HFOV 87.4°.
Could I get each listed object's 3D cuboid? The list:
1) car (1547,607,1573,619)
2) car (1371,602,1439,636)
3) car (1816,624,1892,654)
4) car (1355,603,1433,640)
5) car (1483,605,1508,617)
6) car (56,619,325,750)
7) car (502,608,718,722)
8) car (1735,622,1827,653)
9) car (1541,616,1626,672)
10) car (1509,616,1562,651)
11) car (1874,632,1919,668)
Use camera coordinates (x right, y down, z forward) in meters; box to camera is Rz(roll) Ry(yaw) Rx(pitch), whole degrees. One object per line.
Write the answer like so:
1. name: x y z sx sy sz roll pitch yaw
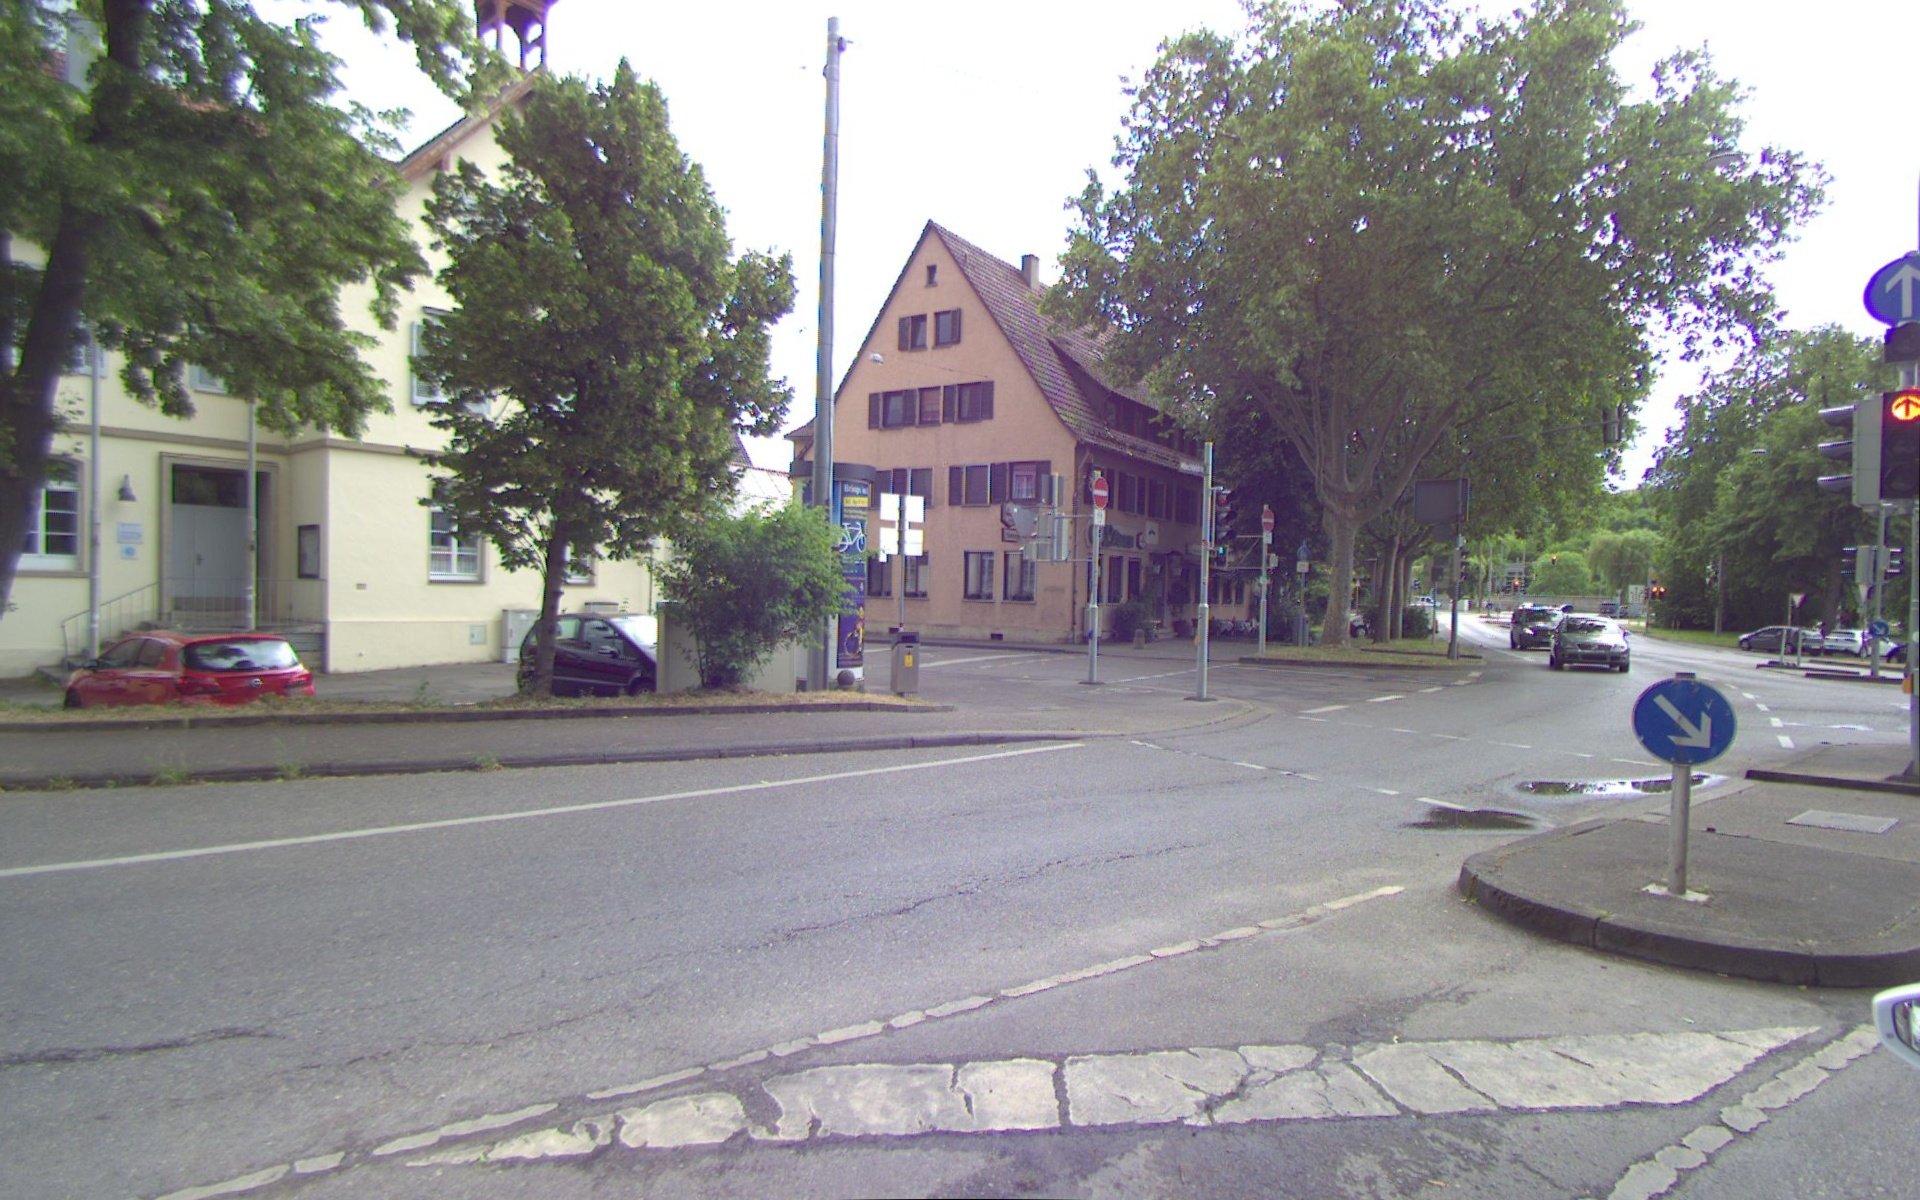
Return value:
1. car: 108.229 2.300 181.094 3.928 2.040 1.996 2 0 30
2. car: 25.469 1.082 57.471 3.387 1.765 1.570 2 0 28
3. car: 47.301 2.077 53.165 3.342 1.484 1.543 2 0 -19
4. car: 21.408 1.044 49.587 3.387 1.663 1.570 2 0 28
5. car: 100.715 2.110 188.940 3.928 2.040 1.996 2 0 30
6. car: -10.176 1.013 13.251 3.492 1.397 1.605 2 0 30
7. car: -5.765 1.006 16.598 3.035 1.654 1.607 2 0 22
8. car: 43.863 1.964 53.765 1.559 1.484 3.543 2 0 -17
9. car: 17.432 1.193 28.193 1.404 1.435 2.872 1 -1 19
10. car: 24.661 1.414 43.110 1.404 1.435 2.872 1 -1 19
11. car: 39.569 2.075 40.949 1.442 1.412 3.596 2 0 3
